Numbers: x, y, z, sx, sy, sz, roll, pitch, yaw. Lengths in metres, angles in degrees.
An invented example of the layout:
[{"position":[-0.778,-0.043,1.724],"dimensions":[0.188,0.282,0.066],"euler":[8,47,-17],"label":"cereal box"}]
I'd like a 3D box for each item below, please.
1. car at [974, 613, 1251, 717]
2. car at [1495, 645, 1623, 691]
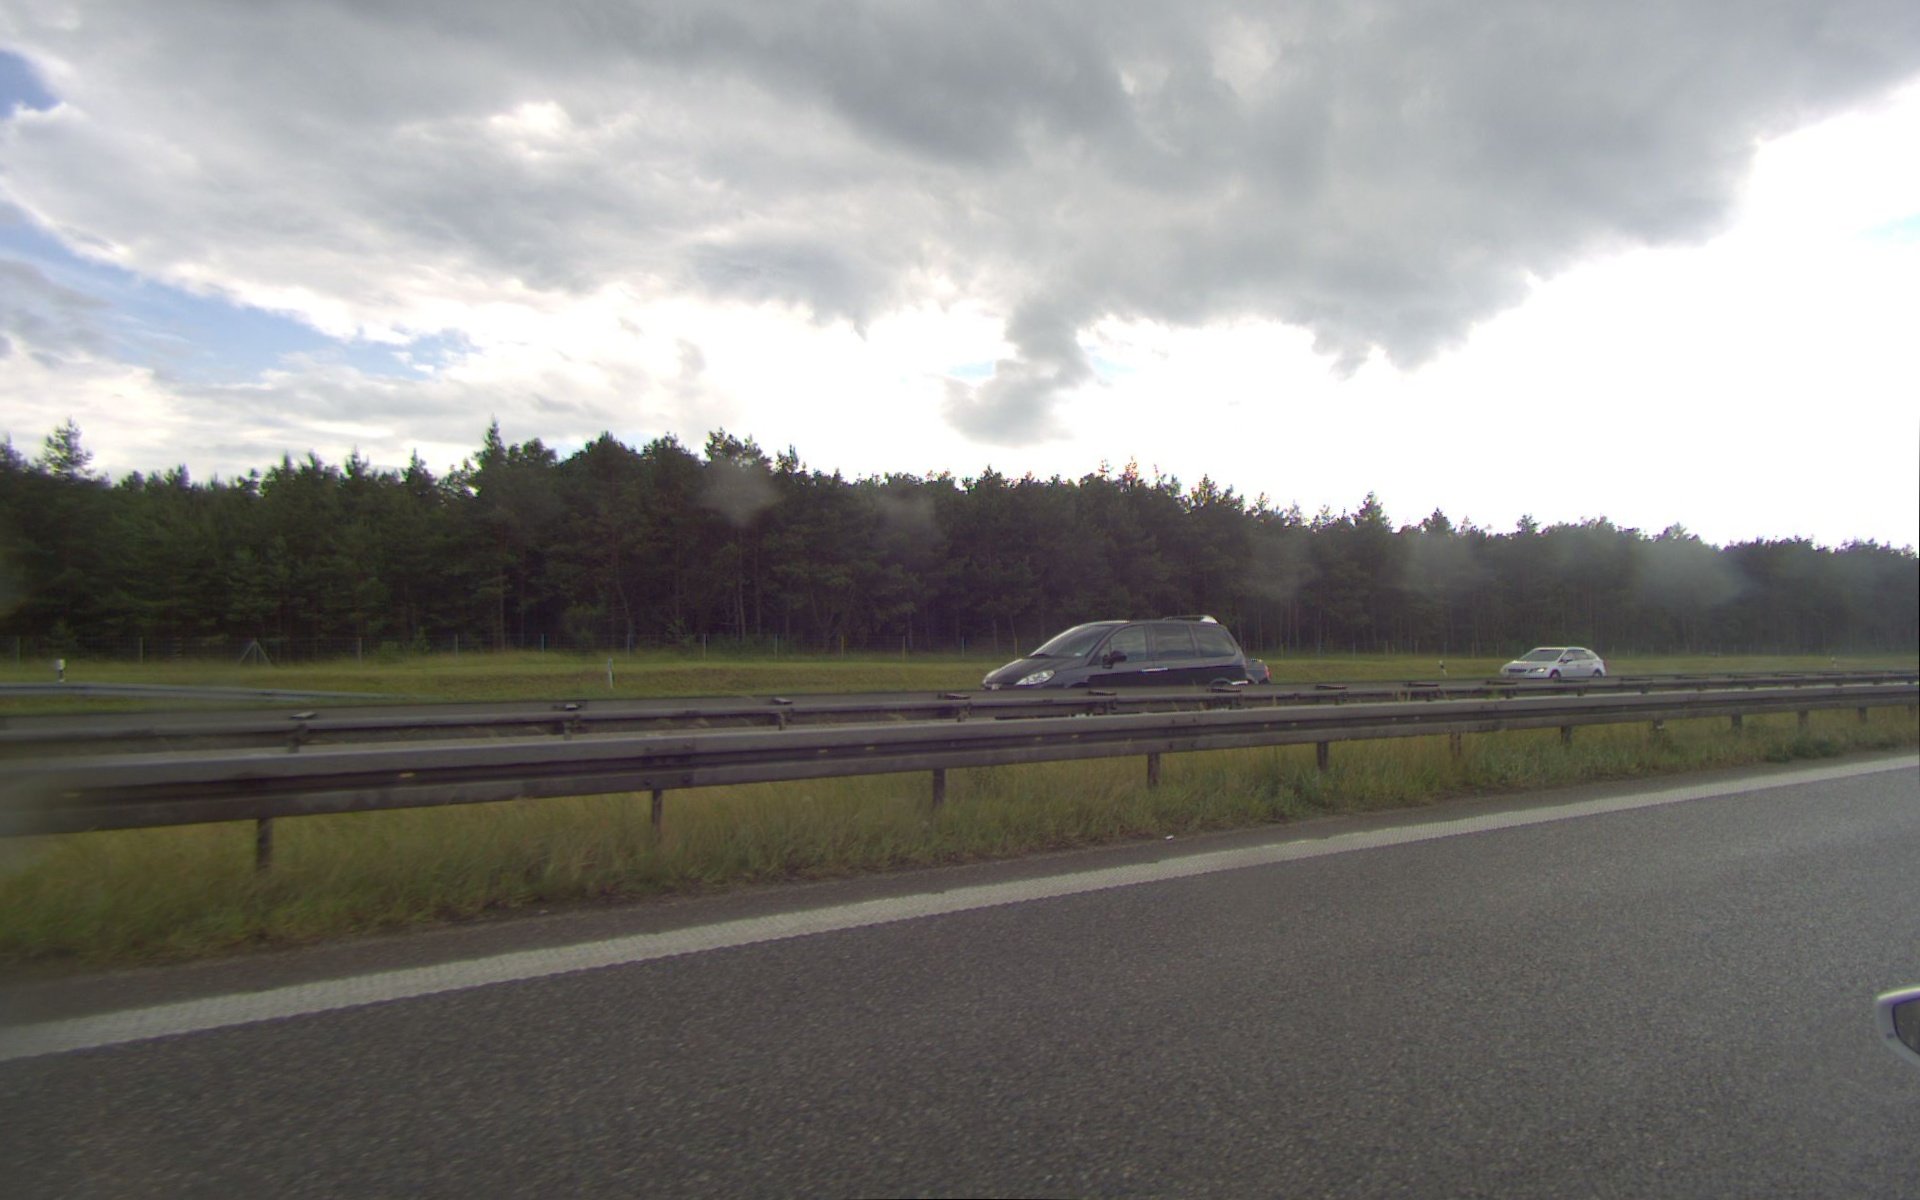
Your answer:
[{"position":[2.477,1.000,16.222],"dimensions":[4.065,1.491,1.986],"euler":[1,-2,-28],"label":"car"},{"position":[20.991,2.344,35.168],"dimensions":[4.762,1.491,1.782],"euler":[2,-2,-30],"label":"car"}]
